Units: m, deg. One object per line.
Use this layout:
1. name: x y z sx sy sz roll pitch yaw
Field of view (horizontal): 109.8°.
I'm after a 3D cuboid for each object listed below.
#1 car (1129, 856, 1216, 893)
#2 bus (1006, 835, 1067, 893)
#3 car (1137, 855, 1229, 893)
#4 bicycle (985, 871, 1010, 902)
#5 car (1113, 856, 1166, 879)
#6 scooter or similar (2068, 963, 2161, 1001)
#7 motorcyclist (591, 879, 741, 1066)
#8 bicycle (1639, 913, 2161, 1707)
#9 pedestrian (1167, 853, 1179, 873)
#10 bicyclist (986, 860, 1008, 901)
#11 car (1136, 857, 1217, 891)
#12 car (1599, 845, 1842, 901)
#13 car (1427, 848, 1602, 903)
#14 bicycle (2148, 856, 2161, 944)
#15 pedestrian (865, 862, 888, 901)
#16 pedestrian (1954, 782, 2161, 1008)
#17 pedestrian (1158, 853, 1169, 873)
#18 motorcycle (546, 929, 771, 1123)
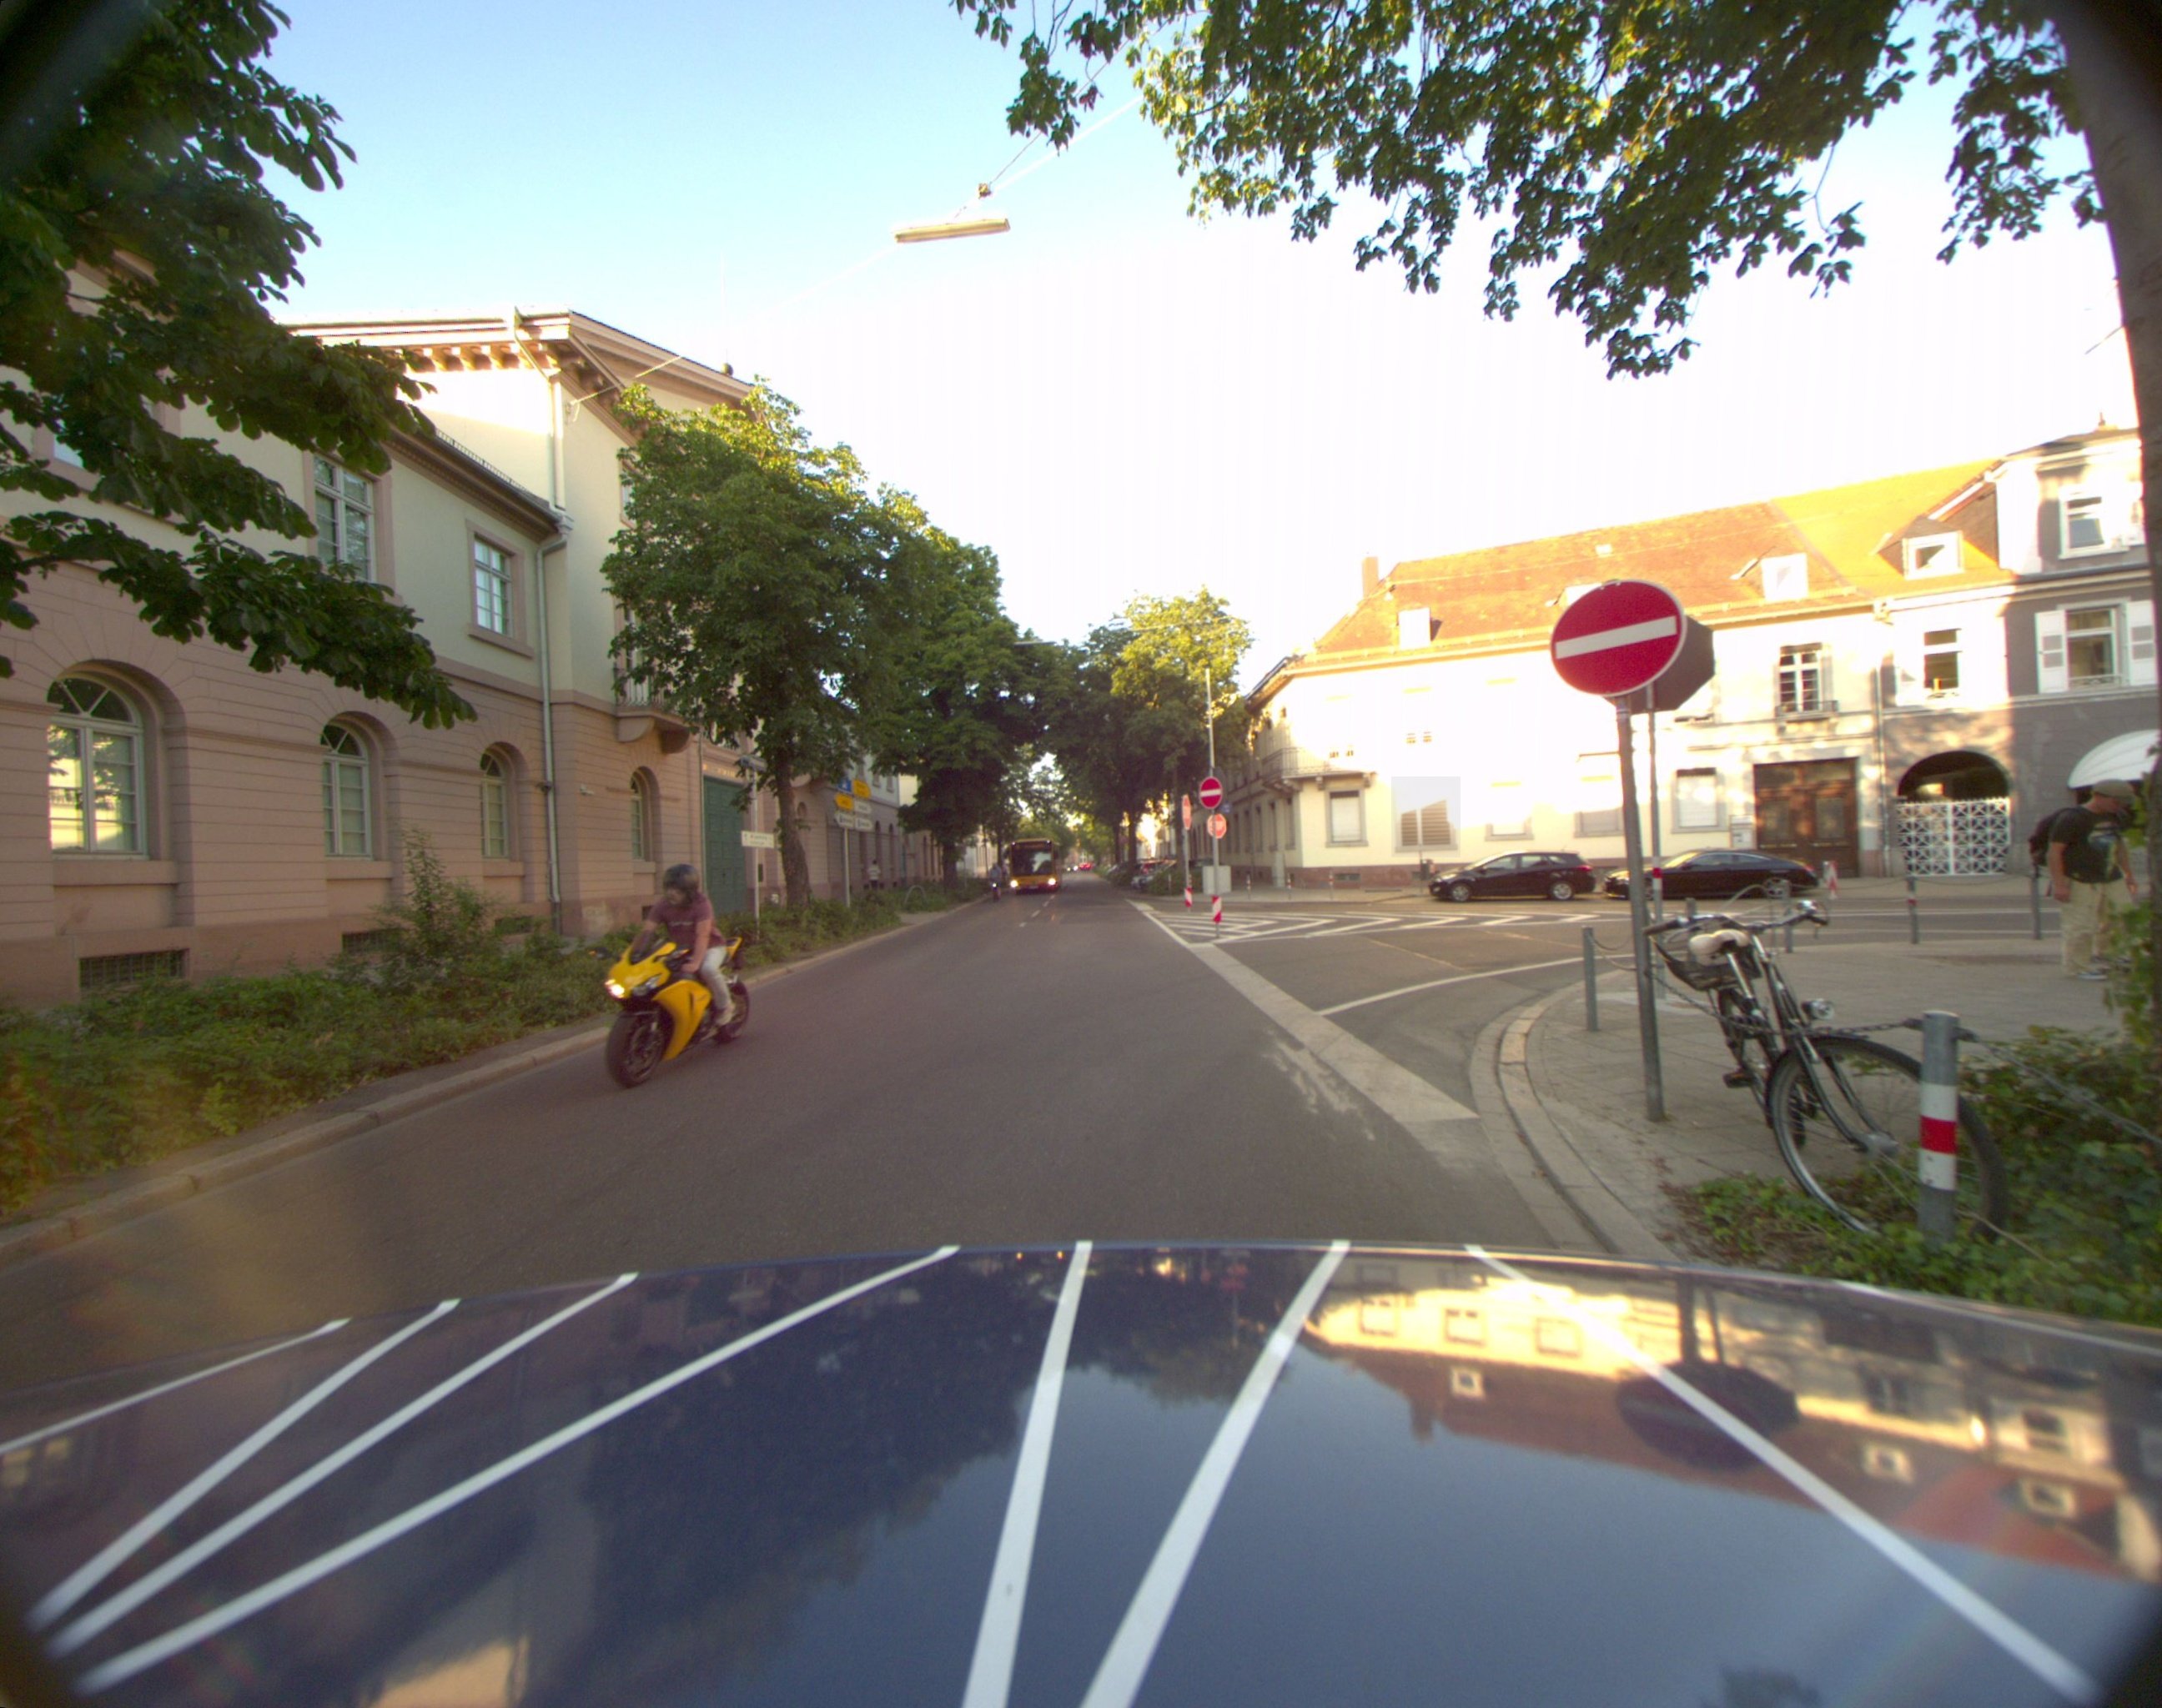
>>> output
1. car: 4.502 1.002 37.729 3.997 1.605 1.723 -2 0 -1
2. bus: -2.528 0.608 47.387 2.711 2.982 12.083 -4 0 1
3. car: 4.694 0.910 35.332 3.997 1.605 1.828 -2 0 -1
4. bicycle: -3.849 1.480 35.141 0.783 1.322 2.078 -4 0 0
5. car: 4.612 1.064 60.179 3.997 1.605 1.723 -2 0 -1
6. scooter or similar: 8.967 1.069 6.369 0.417 0.206 0.883 -3 -2 19
7. motorcyclist: -3.432 0.947 6.348 0.793 1.412 0.699 -4 0 -3
8. bicycle: 2.406 0.869 1.827 0.844 1.260 2.576 -2 0 16
9. pedestrian: 8.217 0.820 67.813 0.894 1.760 1.021 -2 0 -1
10. bicyclist: -3.866 1.211 35.170 0.783 1.828 0.826 -4 0 0
11. car: 4.991 1.019 40.162 3.997 1.605 1.723 -2 0 -1
12. car: 17.494 0.551 21.124 4.846 1.386 1.782 -2 -1 25
13. car: 13.011 0.663 23.153 4.420 1.532 1.810 -2 -1 23
14. bicycle: 14.427 0.542 9.055 1.799 1.118 0.730 -3 -3 32
15. pedestrian: -9.692 1.291 36.017 0.800 1.821 0.929 -2 0 -2
16. pedestrian: 8.567 0.324 6.392 0.851 1.728 1.265 -3 -2 -15
17. pedestrian: 7.356 0.794 67.805 0.806 1.760 1.021 -2 0 -1
18. motorcycle: -3.414 1.324 6.404 0.793 1.153 1.966 -4 0 -3
